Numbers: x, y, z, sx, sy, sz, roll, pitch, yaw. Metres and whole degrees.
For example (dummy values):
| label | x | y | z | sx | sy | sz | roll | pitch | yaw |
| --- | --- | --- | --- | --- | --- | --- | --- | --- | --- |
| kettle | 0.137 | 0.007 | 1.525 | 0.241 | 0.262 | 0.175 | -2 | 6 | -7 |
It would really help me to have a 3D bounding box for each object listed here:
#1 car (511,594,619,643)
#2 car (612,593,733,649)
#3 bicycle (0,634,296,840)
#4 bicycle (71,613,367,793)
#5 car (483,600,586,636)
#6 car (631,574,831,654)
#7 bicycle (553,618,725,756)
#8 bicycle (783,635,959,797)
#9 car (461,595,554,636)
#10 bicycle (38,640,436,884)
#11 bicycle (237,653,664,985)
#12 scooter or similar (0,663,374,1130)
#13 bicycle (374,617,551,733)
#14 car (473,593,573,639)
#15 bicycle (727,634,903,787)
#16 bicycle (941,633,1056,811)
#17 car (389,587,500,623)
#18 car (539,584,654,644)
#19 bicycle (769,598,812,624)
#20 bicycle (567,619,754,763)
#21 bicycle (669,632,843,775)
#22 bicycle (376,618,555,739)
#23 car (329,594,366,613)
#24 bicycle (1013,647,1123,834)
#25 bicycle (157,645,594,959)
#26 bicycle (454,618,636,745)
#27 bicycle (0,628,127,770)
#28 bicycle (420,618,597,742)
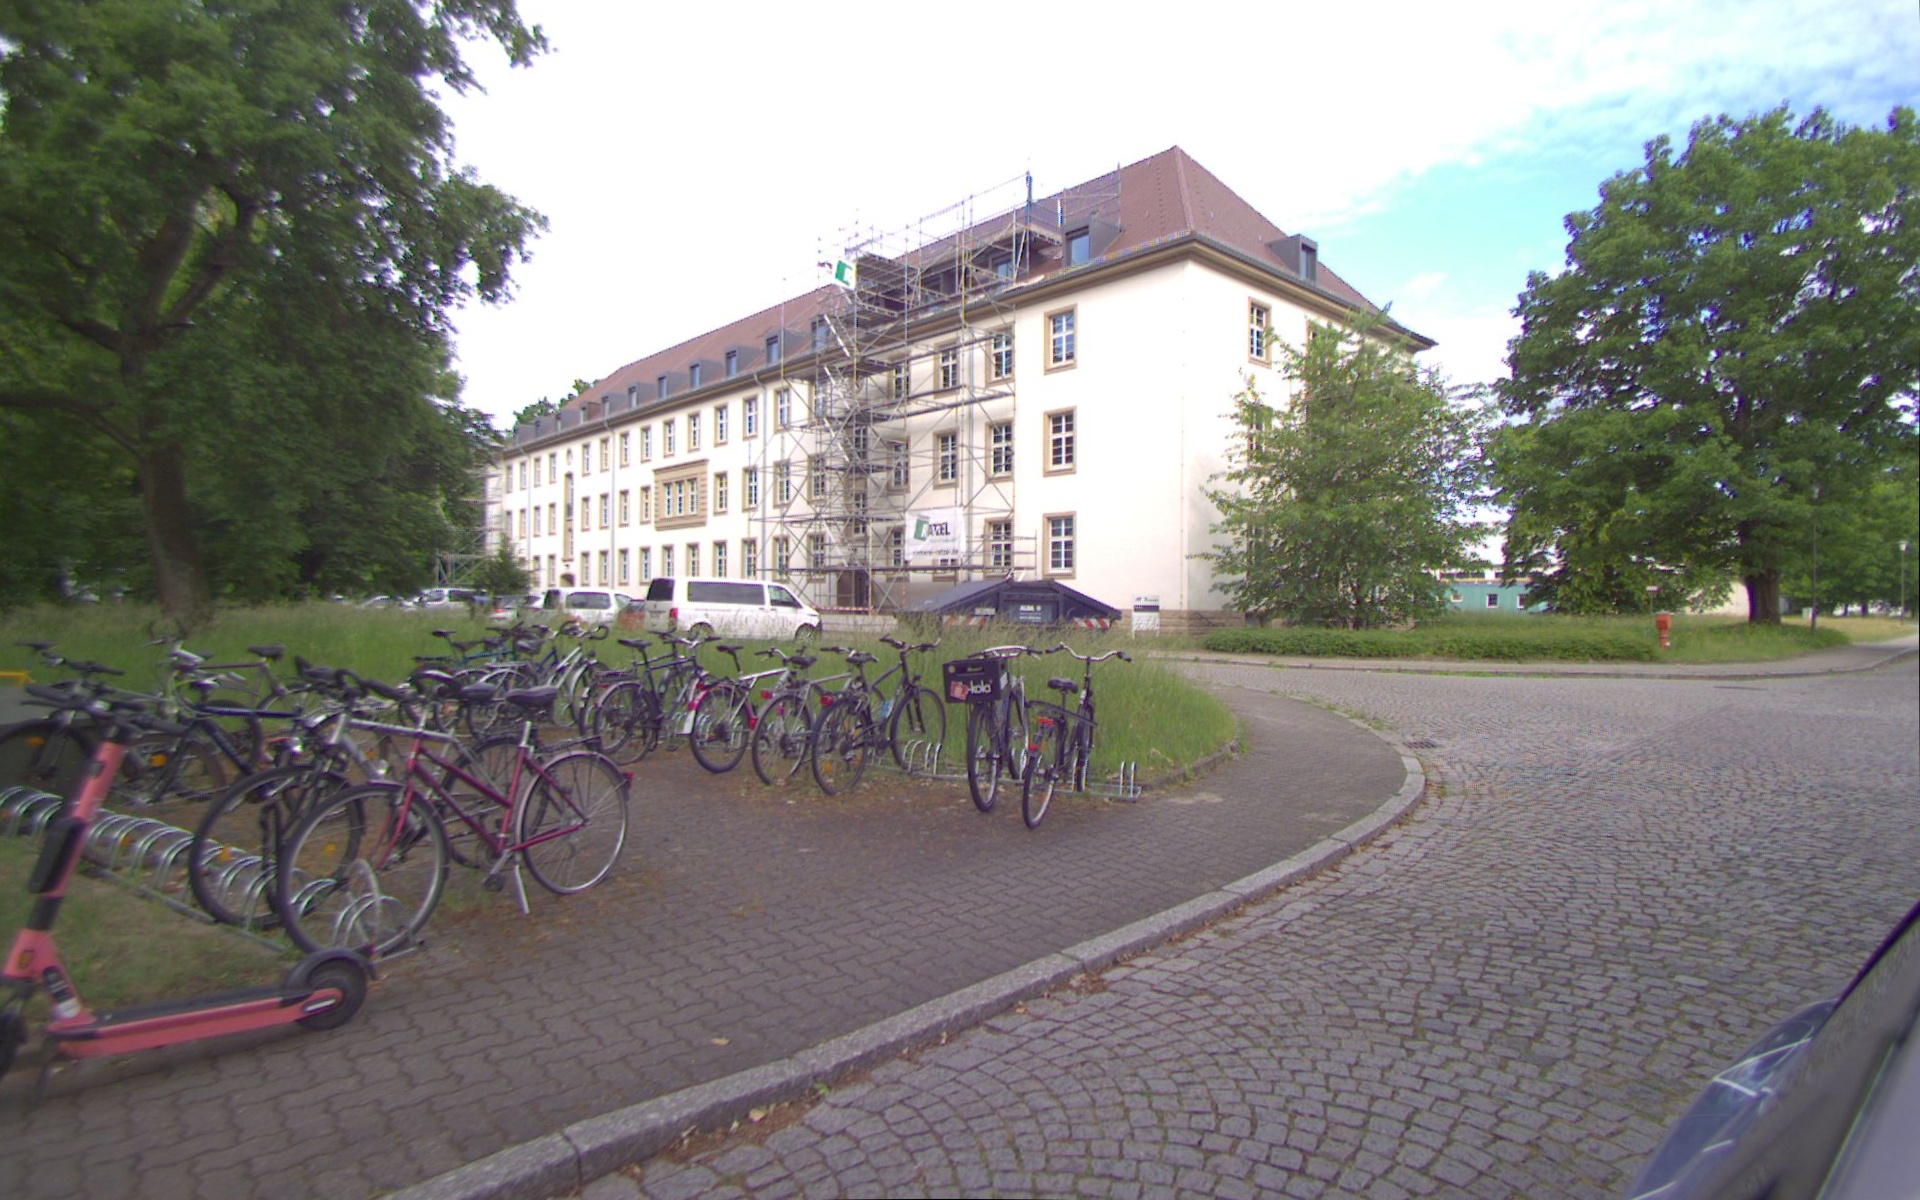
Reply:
| label | x | y | z | sx | sy | sz | roll | pitch | yaw |
| --- | --- | --- | --- | --- | --- | --- | --- | --- | --- |
| car | -13.529 | 0.598 | 34.728 | 3.195 | 1.584 | 1.328 | 0 | 0 | -43 |
| car | -8.366 | 0.583 | 29.573 | 3.195 | 1.546 | 1.308 | 0 | 0 | -43 |
| bicycle | -5.250 | 0.784 | 6.425 | 0.545 | 1.078 | 1.741 | 0 | 0 | 21 |
| bicycle | -5.528 | 0.706 | 7.652 | 0.549 | 1.186 | 1.729 | -1 | 0 | 39 |
| car | -15.306 | 0.633 | 36.502 | 3.195 | 1.233 | 1.294 | 0 | 0 | -43 |
| car | -6.288 | 0.346 | 28.221 | 5.188 | 2.022 | 1.964 | 0 | 0 | -43 |
| bicycle | -2.936 | 0.750 | 9.439 | 0.473 | 1.126 | 1.750 | 0 | 0 | 25 |
| bicycle | -0.633 | 0.827 | 7.797 | 0.474 | 1.020 | 1.650 | -1 | 1 | 31 |
| car | -18.382 | 0.611 | 41.169 | 3.195 | 1.585 | 1.381 | 0 | 0 | -43 |
| bicycle | -3.976 | 0.808 | 5.766 | 0.611 | 1.078 | 1.812 | 0 | 0 | 21 |
| bicycle | -2.198 | 0.853 | 4.633 | 0.546 | 1.128 | 1.751 | 0 | 0 | 29 |
| scooter or similar | -2.519 | 0.845 | 3.180 | 0.356 | 1.225 | 1.120 | -1 | -1 | 43 |
| bicycle | -5.322 | 0.757 | 10.934 | 0.474 | 1.126 | 1.746 | 0 | 0 | 31 |
| car | -16.550 | 0.580 | 38.377 | 3.195 | 1.682 | 1.437 | 0 | 0 | -43 |
| bicycle | -1.121 | 0.829 | 8.177 | 0.474 | 1.020 | 1.650 | -1 | 1 | 31 |
| bicycle | 0.325 | 0.832 | 7.503 | 0.471 | 1.087 | 1.615 | -1 | 1 | 16 |
| car | -24.536 | 0.226 | 48.281 | 4.469 | 1.669 | 1.465 | 0 | 0 | -43 |
| car | -11.863 | 0.444 | 33.096 | 3.195 | 1.867 | 1.600 | 0 | 0 | -43 |
| bicycle | -7.405 | 0.482 | 44.299 | 1.827 | 1.109 | 0.511 | 0 | -1 | -36 |
| bicycle | -2.608 | 0.746 | 9.014 | 0.474 | 1.126 | 1.746 | 0 | 0 | 31 |
| bicycle | -1.699 | 0.833 | 8.692 | 0.474 | 1.020 | 1.650 | -1 | 1 | 31 |
| bicycle | -5.028 | 0.758 | 10.387 | 0.439 | 1.126 | 1.630 | 0 | 0 | 36 |
| car | -46.115 | 0.236 | 76.180 | 1.558 | 1.356 | 3.942 | 0 | 0 | -45 |
| bicycle | 0.781 | 0.888 | 6.960 | 0.471 | 1.020 | 1.615 | -1 | 1 | 16 |
| bicycle | -2.648 | 0.819 | 4.830 | 0.546 | 1.128 | 1.786 | 0 | 0 | 29 |
| bicycle | -4.073 | 0.752 | 10.070 | 0.474 | 1.126 | 1.746 | 0 | 0 | 31 |
| bicycle | -7.522 | 0.762 | 7.761 | 0.547 | 1.055 | 1.663 | 0 | 0 | 33 |
| bicycle | -4.507 | 0.758 | 10.203 | 0.439 | 1.126 | 1.630 | 0 | 0 | 36 |
